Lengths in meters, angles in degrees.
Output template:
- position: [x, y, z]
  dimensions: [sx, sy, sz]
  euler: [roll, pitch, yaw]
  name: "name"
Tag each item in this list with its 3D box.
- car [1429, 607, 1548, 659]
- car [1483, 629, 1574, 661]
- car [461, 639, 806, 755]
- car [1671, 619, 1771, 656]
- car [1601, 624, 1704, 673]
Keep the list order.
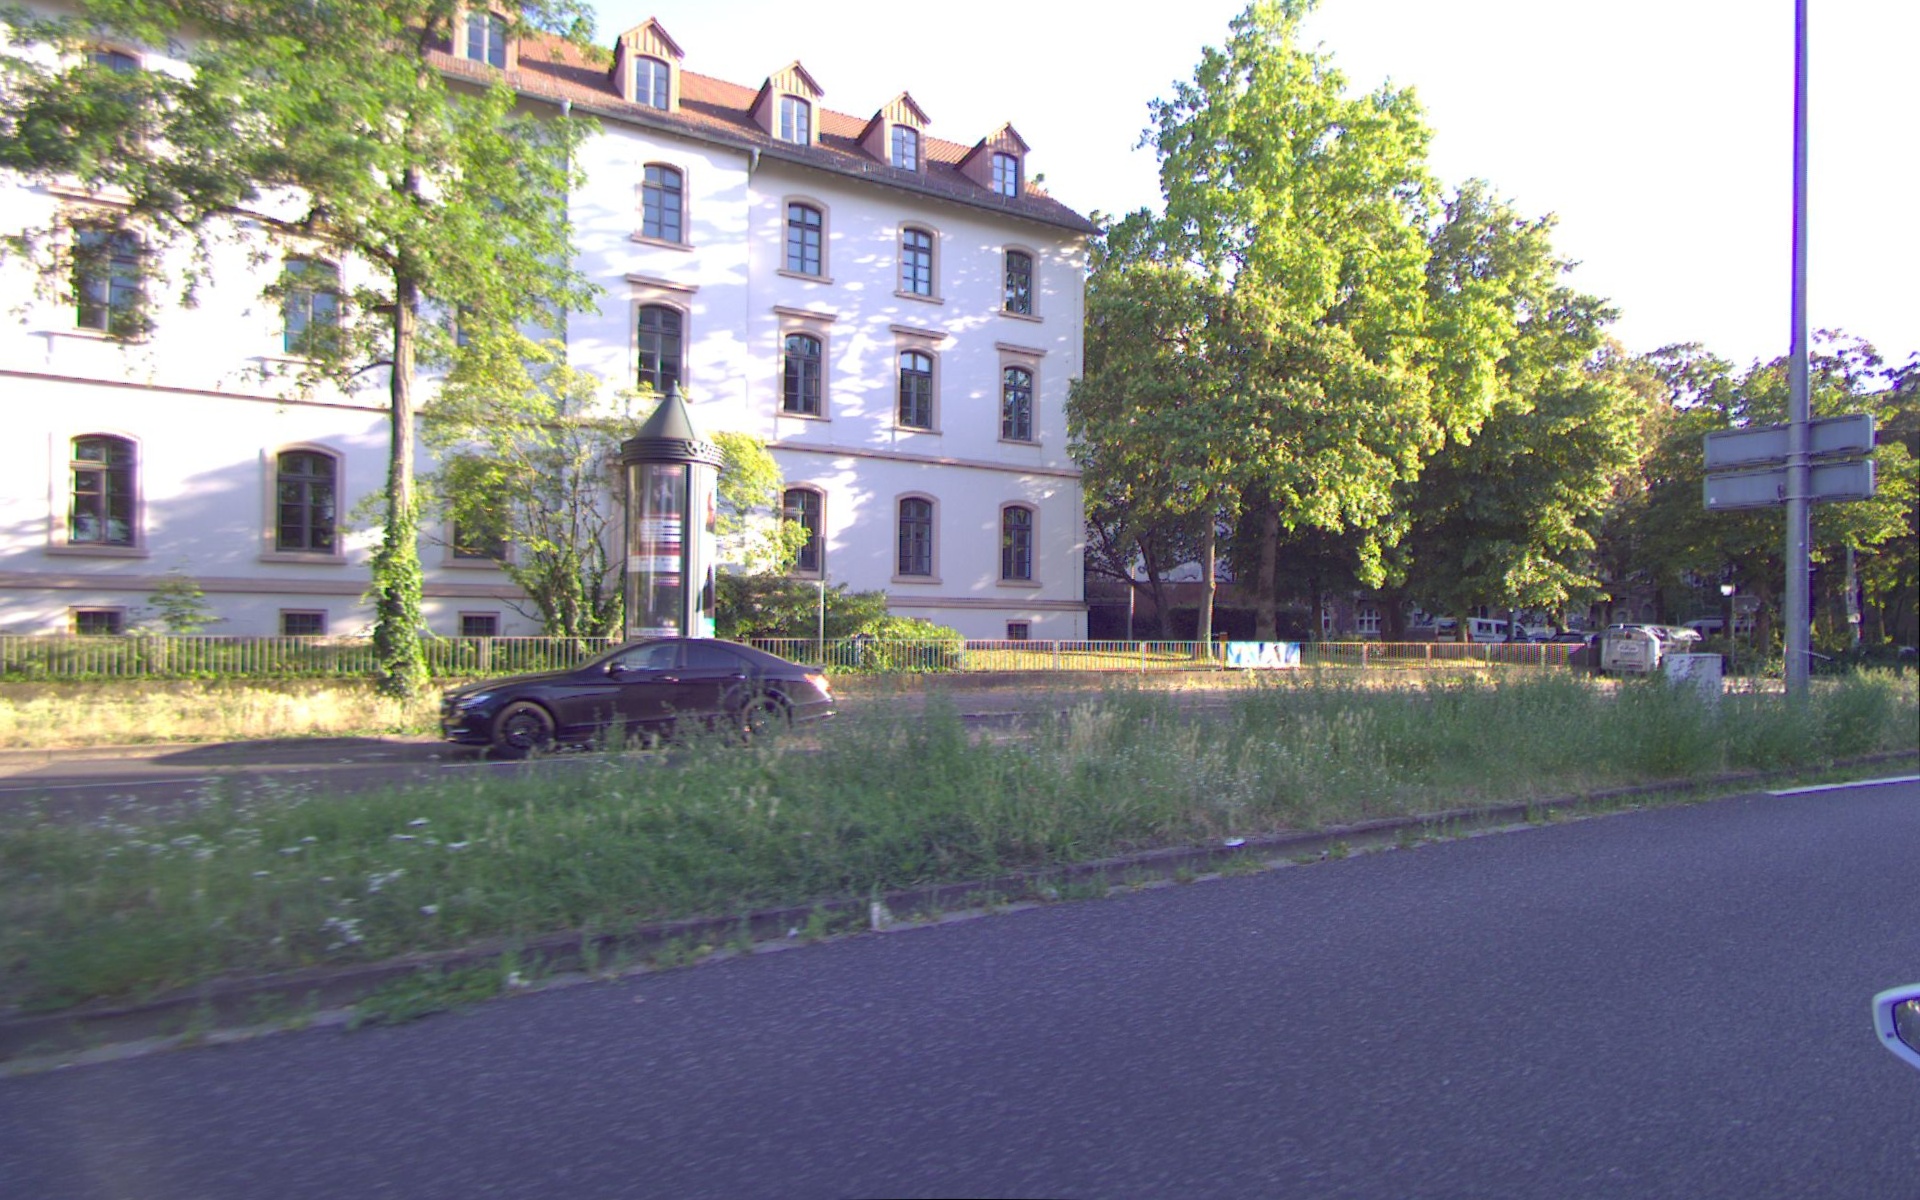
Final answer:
- position: [24.579, 1.547, 46.751]
  dimensions: [5.025, 2.319, 2.211]
  euler: [1, -1, -23]
  name: "car"
- position: [25.267, 1.988, 44.622]
  dimensions: [3.952, 1.350, 1.725]
  euler: [1, -1, -29]
  name: "car"
- position: [-4.155, 1.184, 12.883]
  dimensions: [3.959, 1.289, 1.767]
  euler: [1, -5, -29]
  name: "car"
- position: [53.508, 2.600, 70.754]
  dimensions: [5.128, 2.518, 2.275]
  euler: [0, -1, 9]
  name: "car"
- position: [27.492, 1.890, 39.876]
  dimensions: [3.951, 1.819, 1.810]
  euler: [1, -1, -29]
  name: "car"
